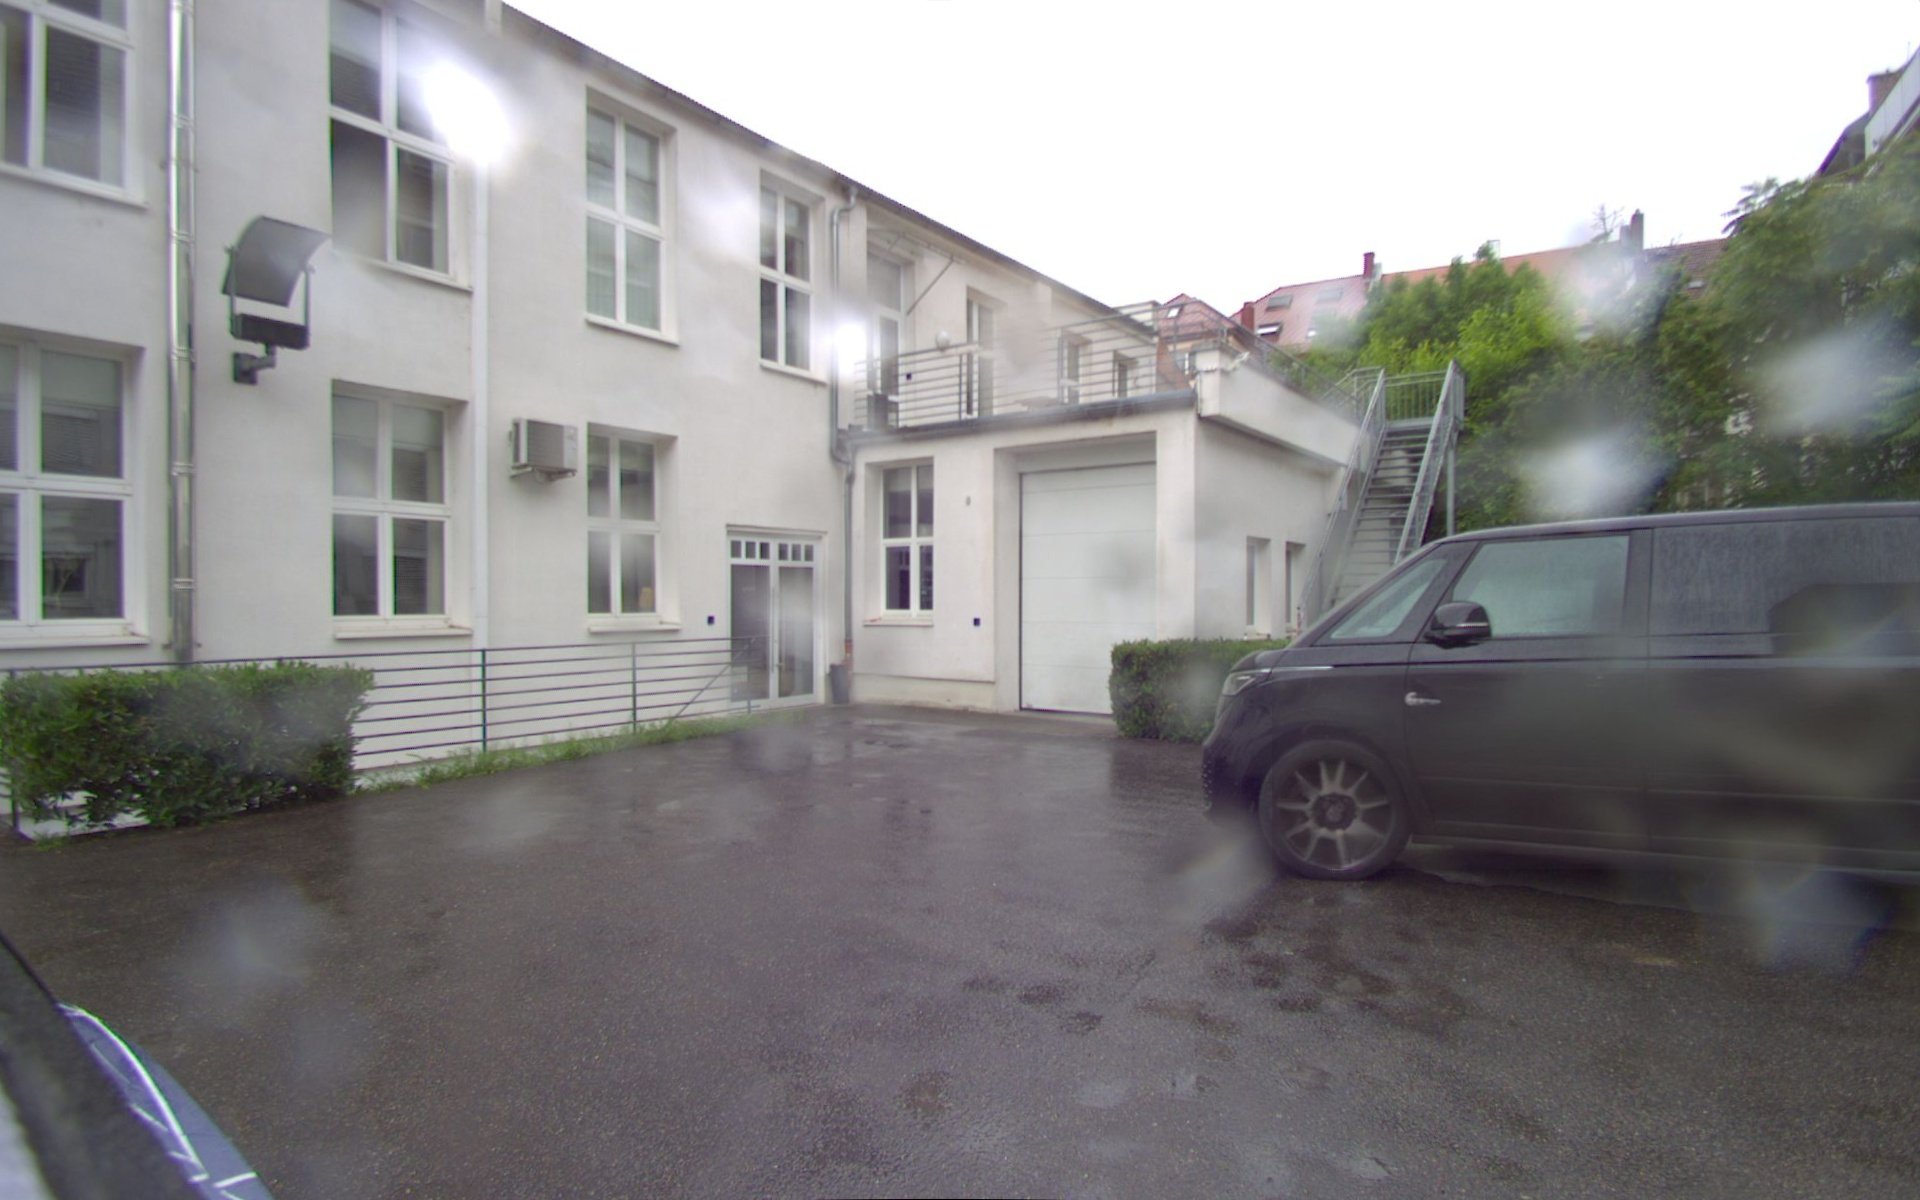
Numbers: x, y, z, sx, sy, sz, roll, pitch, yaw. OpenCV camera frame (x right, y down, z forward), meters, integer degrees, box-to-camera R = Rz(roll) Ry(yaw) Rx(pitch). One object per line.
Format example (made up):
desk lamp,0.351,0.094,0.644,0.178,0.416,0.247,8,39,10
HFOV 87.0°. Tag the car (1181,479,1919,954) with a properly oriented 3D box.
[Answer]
car,3.653,0.490,5.348,4.501,1.912,2.027,-1,-1,28
